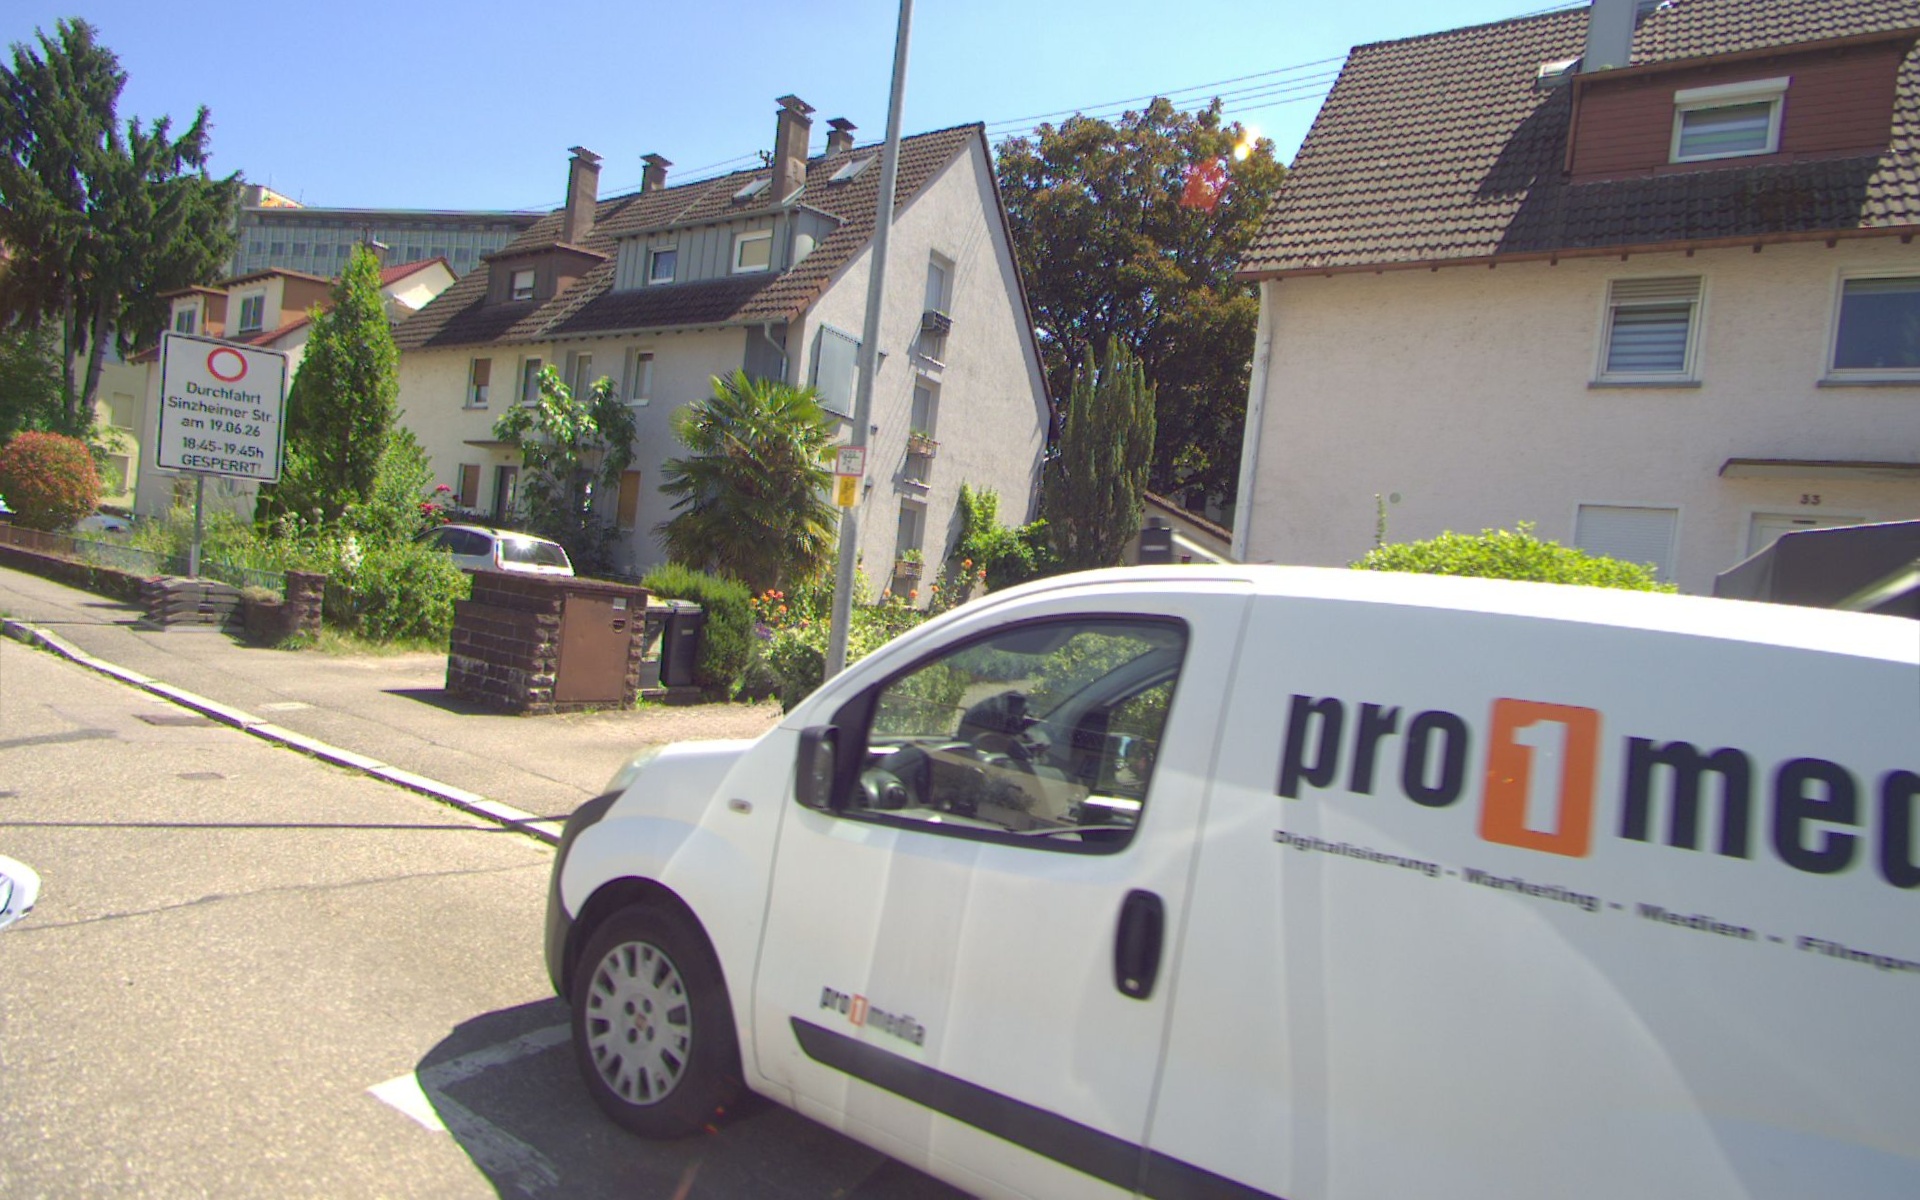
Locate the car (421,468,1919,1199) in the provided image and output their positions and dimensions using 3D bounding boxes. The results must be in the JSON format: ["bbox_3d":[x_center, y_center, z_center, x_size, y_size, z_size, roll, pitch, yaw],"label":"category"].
[{"bbox_3d":[0.492,0.713,2.835,3.935,1.774,1.667,6,-3,33],"label":"car"}]

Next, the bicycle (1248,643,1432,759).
[{"bbox_3d":[4.478,1.159,11.956,1.915,1.122,0.454,5,1,34],"label":"bicycle"}]

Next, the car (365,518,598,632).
[{"bbox_3d":[-8.479,-0.454,17.756,3.934,1.590,1.795,6,1,32],"label":"car"}]

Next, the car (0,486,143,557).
[{"bbox_3d":[-27.414,-2.409,30.216,1.804,1.630,3.991,7,-1,34],"label":"car"}]

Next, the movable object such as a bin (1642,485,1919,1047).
[{"bbox_3d":[5.686,0.974,6.386,1.678,2.780,3.152,7,-1,29],"label":"movable object such as a bin"}]
